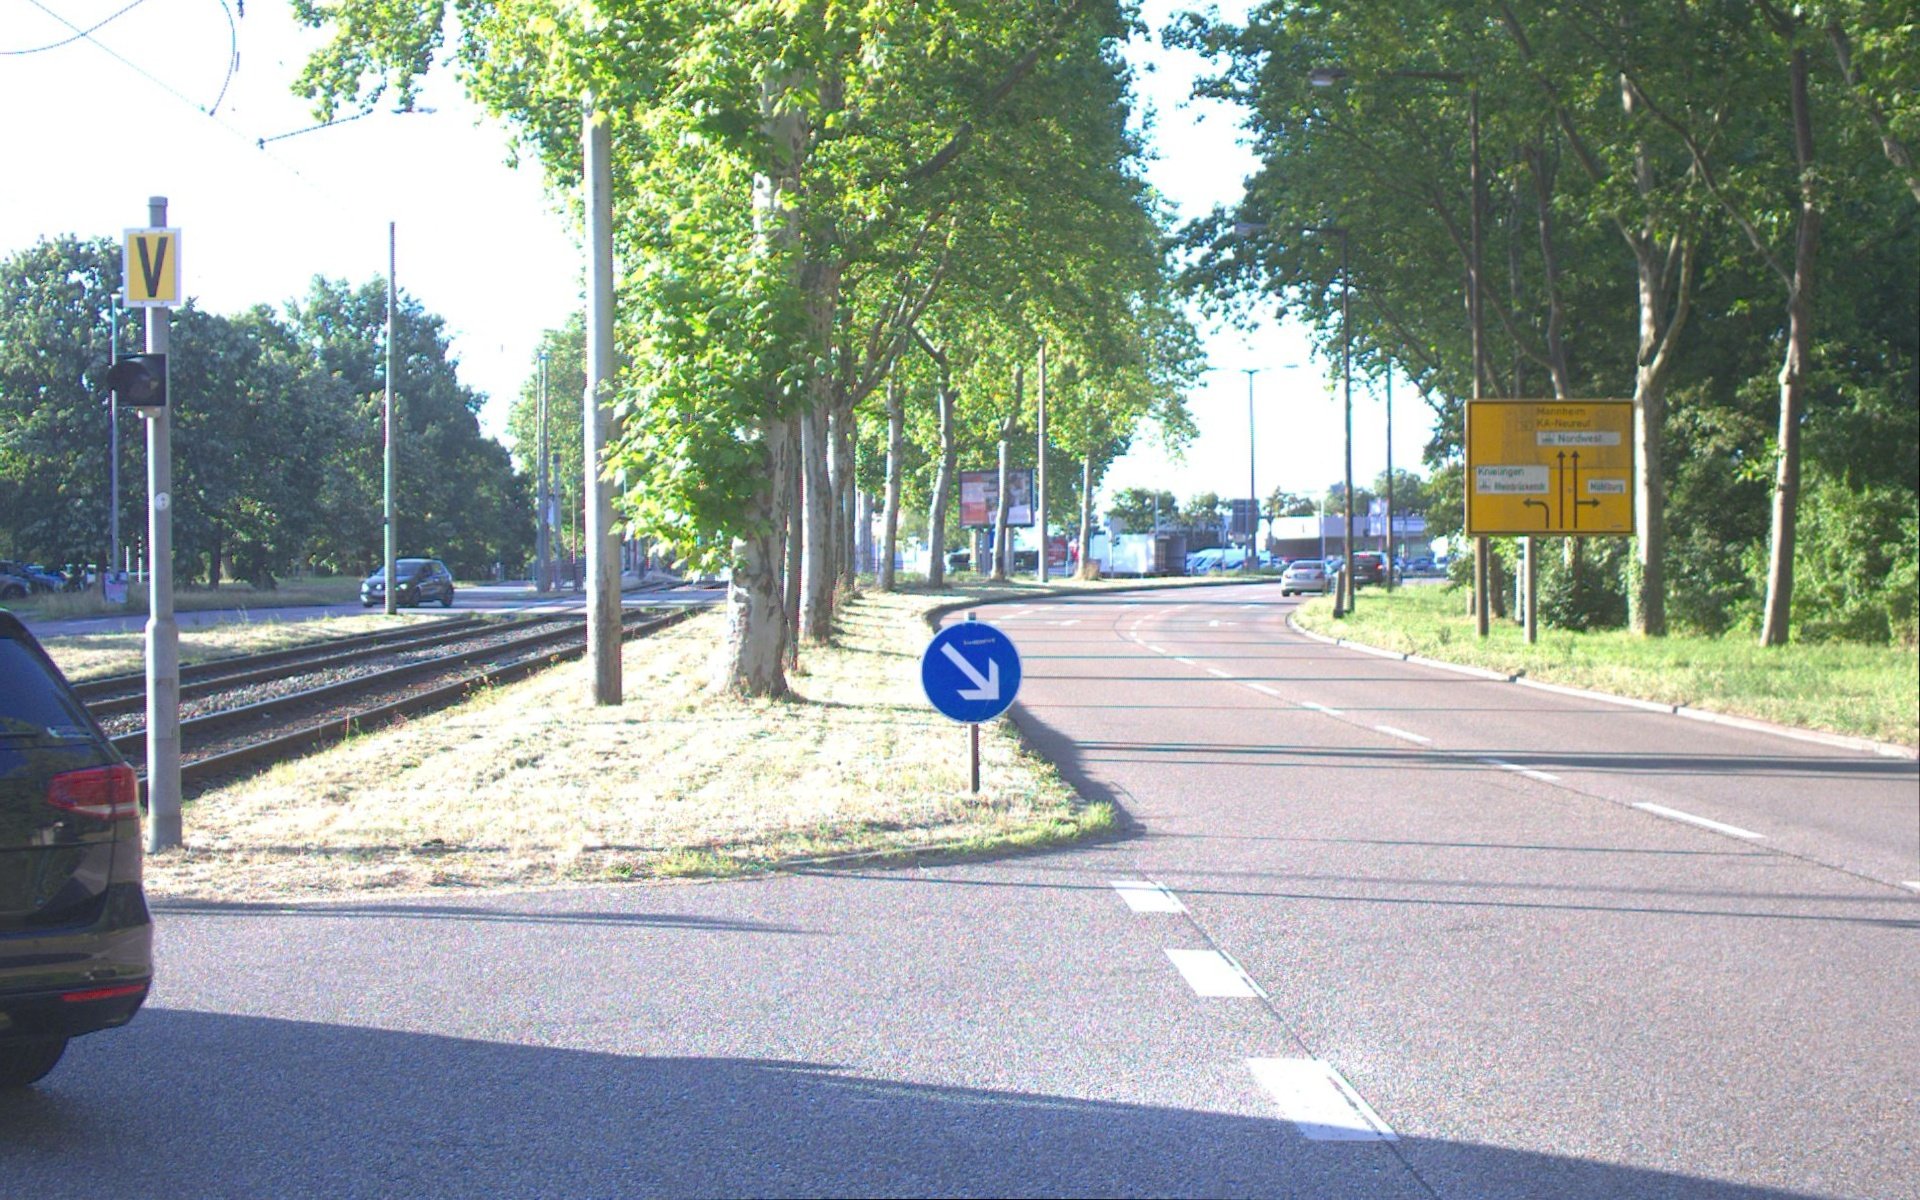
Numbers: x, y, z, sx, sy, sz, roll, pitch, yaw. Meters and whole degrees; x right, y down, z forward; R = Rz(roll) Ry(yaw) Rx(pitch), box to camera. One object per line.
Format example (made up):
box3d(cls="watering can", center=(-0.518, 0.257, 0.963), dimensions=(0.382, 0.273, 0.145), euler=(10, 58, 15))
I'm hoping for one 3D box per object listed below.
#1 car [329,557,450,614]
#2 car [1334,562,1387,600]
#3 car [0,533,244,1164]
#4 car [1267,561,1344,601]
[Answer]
box3d(cls="car", center=(-17.192, -0.450, 103.706), dimensions=(1.810, 1.678, 3.996), euler=(0, 1, 21))
box3d(cls="car", center=(15.746, -0.736, 134.994), dimensions=(1.994, 1.435, 3.999), euler=(1, 0, 7))
box3d(cls="car", center=(-4.025, 0.585, 9.781), dimensions=(4.256, 1.550, 1.826), euler=(1, 0, 45))
box3d(cls="car", center=(12.561, -0.691, 124.949), dimensions=(1.995, 1.437, 3.996), euler=(1, 0, 18))
